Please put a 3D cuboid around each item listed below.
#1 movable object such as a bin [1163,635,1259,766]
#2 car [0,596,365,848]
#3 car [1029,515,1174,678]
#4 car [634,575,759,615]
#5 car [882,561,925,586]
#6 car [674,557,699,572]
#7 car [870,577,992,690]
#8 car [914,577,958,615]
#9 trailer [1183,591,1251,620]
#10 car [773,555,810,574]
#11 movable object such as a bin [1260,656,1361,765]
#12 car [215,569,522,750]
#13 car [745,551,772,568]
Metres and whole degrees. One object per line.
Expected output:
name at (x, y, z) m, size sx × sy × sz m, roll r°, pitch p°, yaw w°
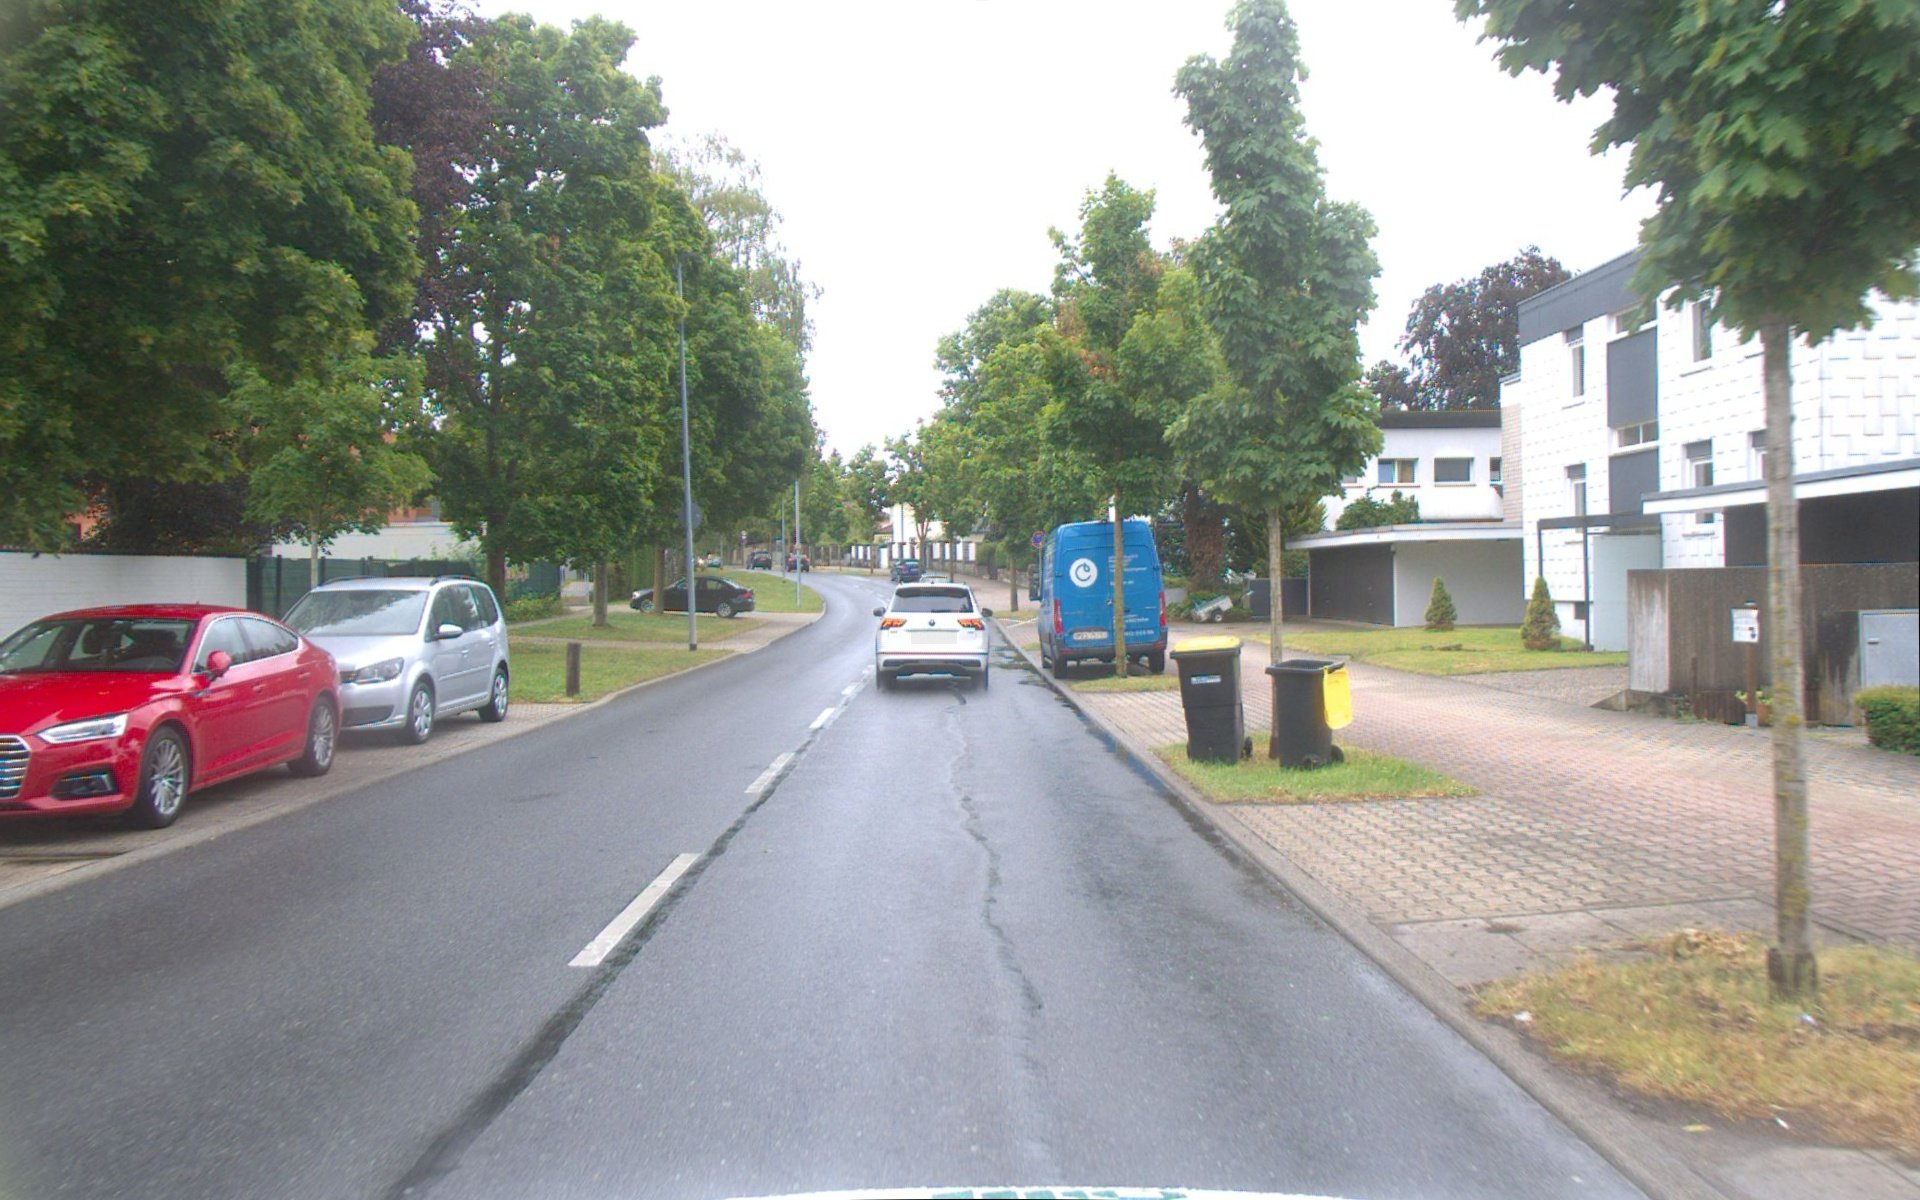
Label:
movable object such as a bin at (2.150, 0.853, 14.146) m, size 0.602 × 1.032 × 0.562 m, roll -6°, pitch -1°, yaw 24°
car at (-6.028, 0.710, 11.858) m, size 1.953 × 1.428 × 4.556 m, roll -1°, pitch 0°, yaw -1°
car at (2.479, -0.090, 30.357) m, size 1.953 × 2.631 × 5.632 m, roll -3°, pitch 1°, yaw -1°
car at (-9.349, -0.183, 58.875) m, size 4.130 × 1.386 × 1.691 m, roll 1°, pitch 0°, yaw 3°
car at (-3.587, -1.684, 104.376) m, size 1.618 × 1.452 × 3.977 m, roll 0°, pitch 2°, yaw -20°
car at (-27.854, -3.617, 168.308) m, size 1.741 × 1.452 × 3.977 m, roll 0°, pitch 2°, yaw -20°
car at (-0.457, 0.492, 27.310) m, size 1.827 × 1.679 × 4.000 m, roll -2°, pitch 1°, yaw -1°
car at (-1.098, -0.176, 72.809) m, size 1.734 × 1.578 × 3.997 m, roll -1°, pitch 0°, yaw -4°
trailer at (8.288, 0.185, 53.424) m, size 2.000 × 0.899 × 1.365 m, roll 0°, pitch 1°, yaw 2°
car at (-13.357, -2.800, 130.893) m, size 1.623 × 1.452 × 3.966 m, roll 0°, pitch 2°, yaw -26°
movable object such as a bin at (2.866, 0.899, 13.497) m, size 0.646 × 0.814 × 0.600 m, roll -4°, pitch -1°, yaw 24°
car at (-6.063, 0.537, 17.505) m, size 1.720 × 1.656 × 4.232 m, roll -1°, pitch 0°, yaw 0°
car at (-17.850, -3.555, 146.308) m, size 1.617 × 1.452 × 3.981 m, roll 0°, pitch 2°, yaw -18°
